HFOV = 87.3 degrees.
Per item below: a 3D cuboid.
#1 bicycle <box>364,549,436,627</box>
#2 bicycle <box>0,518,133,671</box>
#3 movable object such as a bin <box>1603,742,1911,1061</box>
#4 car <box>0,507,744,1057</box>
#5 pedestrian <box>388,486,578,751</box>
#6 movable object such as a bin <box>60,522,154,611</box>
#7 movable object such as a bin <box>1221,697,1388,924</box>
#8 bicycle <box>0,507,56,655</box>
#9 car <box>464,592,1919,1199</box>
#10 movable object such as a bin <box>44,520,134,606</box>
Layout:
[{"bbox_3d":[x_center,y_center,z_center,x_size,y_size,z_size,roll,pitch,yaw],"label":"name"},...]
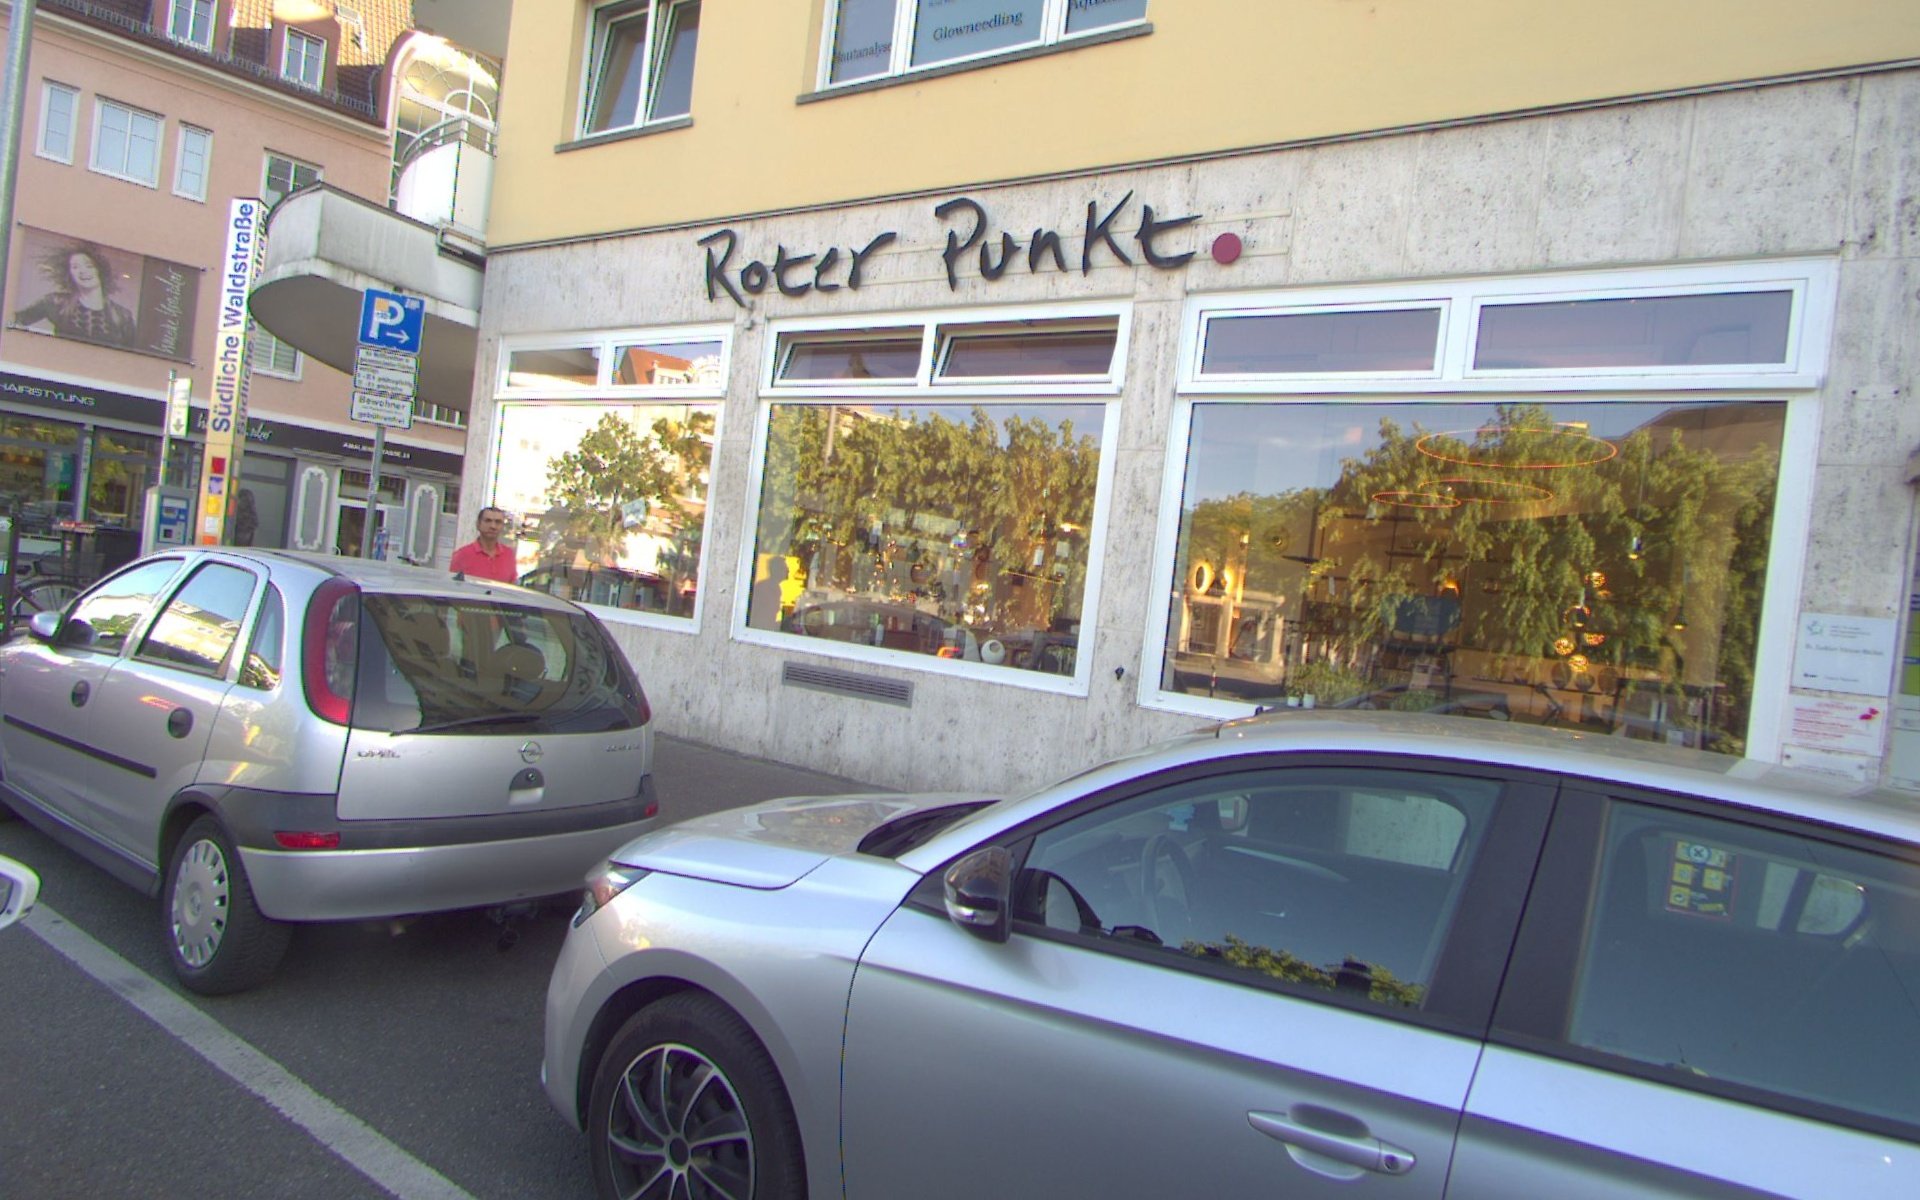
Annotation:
[{"bbox_3d":[-10.022,-0.234,17.947,0.656,1.213,2.187,7,-1,-39],"label":"bicycle"},{"bbox_3d":[-8.070,-0.078,8.207,0.681,1.208,1.885,8,1,37],"label":"bicycle"},{"bbox_3d":[3.429,1.242,4.437,0.879,1.066,0.751,7,0,32],"label":"movable object such as a bin"},{"bbox_3d":[-2.906,0.487,4.440,3.583,1.397,1.616,7,-2,32],"label":"car"},{"bbox_3d":[-3.569,0.116,7.522,0.994,1.808,0.862,7,3,40],"label":"pedestrian"},{"bbox_3d":[-11.867,-0.464,14.006,0.617,1.105,0.754,6,-1,34],"label":"movable object such as a bin"},{"bbox_3d":[1.886,1.087,5.465,0.592,1.041,0.811,7,0,31],"label":"movable object such as a bin"},{"bbox_3d":[-9.075,-0.229,8.680,0.778,1.284,1.721,7,1,37],"label":"bicycle"},{"bbox_3d":[0.815,0.934,2.289,3.643,1.415,1.652,7,-1,30],"label":"car"},{"bbox_3d":[-12.403,-0.523,14.327,0.617,1.105,0.734,6,-1,34],"label":"movable object such as a bin"}]
